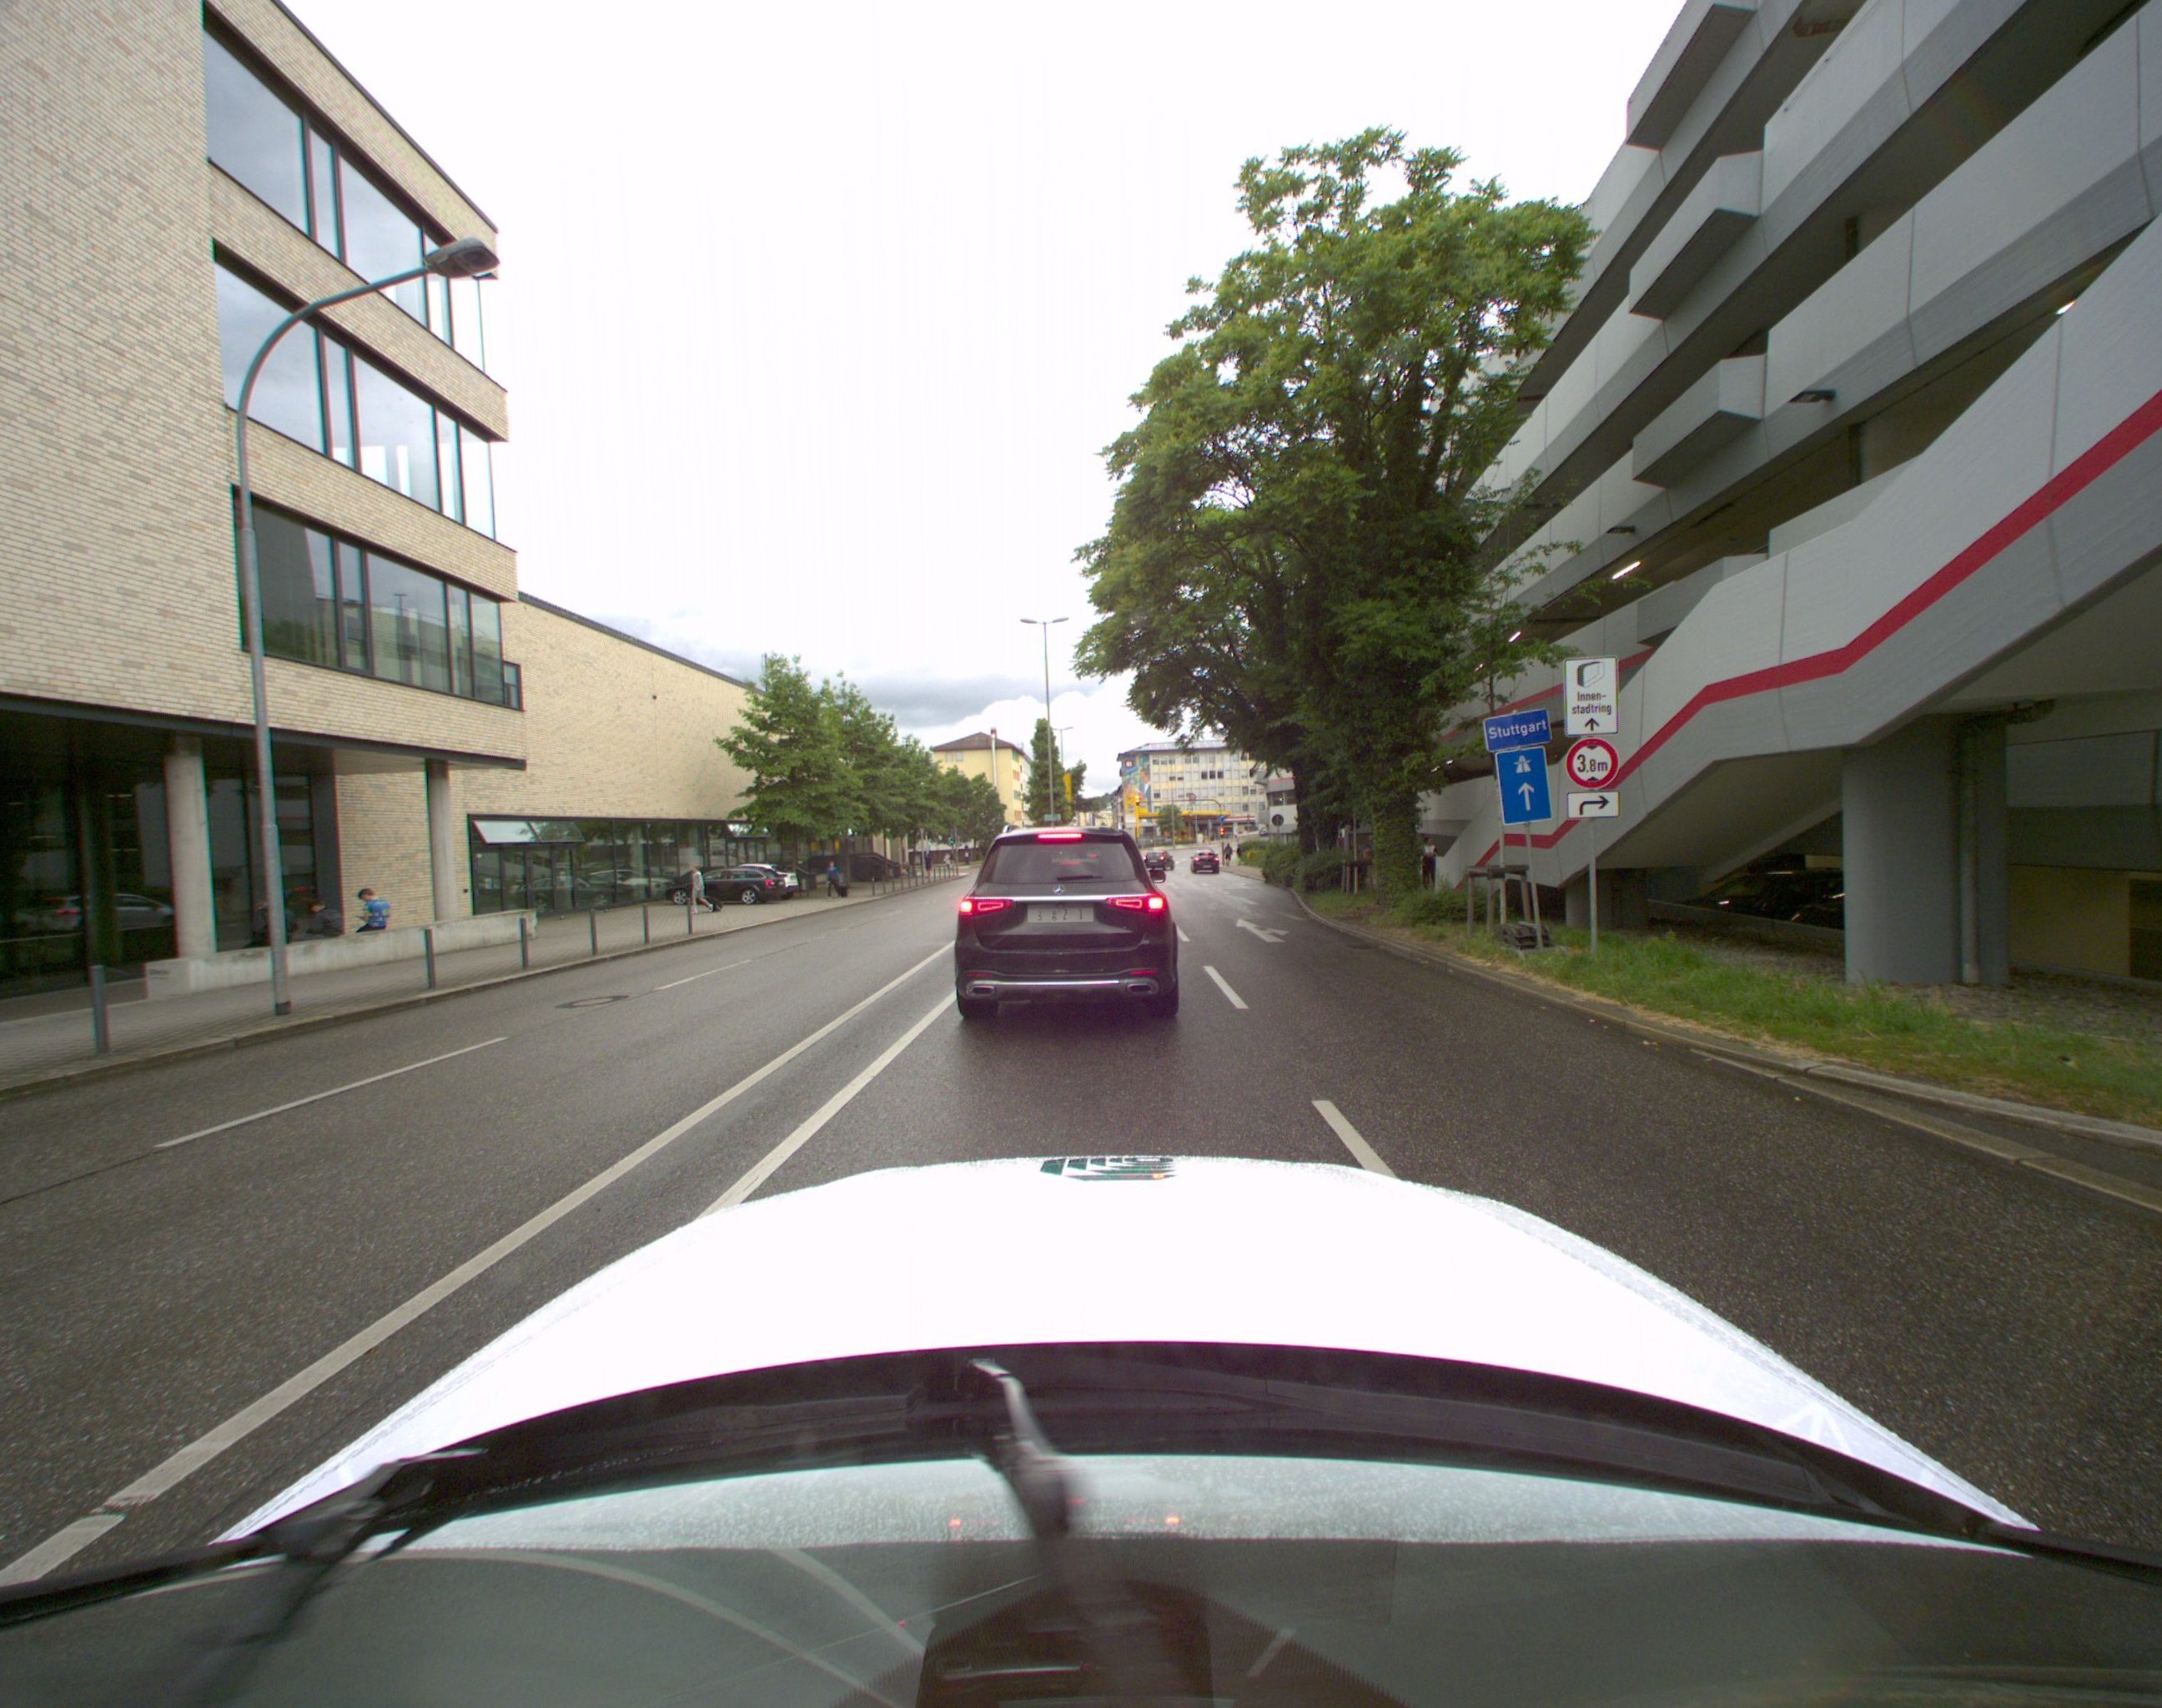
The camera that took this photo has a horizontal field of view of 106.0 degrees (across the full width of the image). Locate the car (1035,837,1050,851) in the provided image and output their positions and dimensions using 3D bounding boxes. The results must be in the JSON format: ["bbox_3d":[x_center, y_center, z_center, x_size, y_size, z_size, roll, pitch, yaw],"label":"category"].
[{"bbox_3d":[-5.793,-1.496,121.921,1.987,1.875,5.141,0,-1,0],"label":"car"}]

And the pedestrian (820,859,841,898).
[{"bbox_3d":[-11.422,1.112,37.118,0.686,1.725,0.754,0,1,0],"label":"pedestrian"}]

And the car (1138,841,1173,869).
[{"bbox_3d":[5.512,0.094,60.732,1.990,2.014,3.993,0,-1,-4],"label":"car"}]

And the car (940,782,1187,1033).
[{"bbox_3d":[-0.124,0.447,8.578,1.987,2.014,4.000,0,-1,0],"label":"car"}]

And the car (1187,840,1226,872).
[{"bbox_3d":[8.370,0.106,54.521,1.987,2.013,3.999,-1,0,0],"label":"car"}]

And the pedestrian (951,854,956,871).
[{"bbox_3d":[-12.680,0.861,81.009,0.398,1.644,0.567,0,-1,2],"label":"pedestrian"}]

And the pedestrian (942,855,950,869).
[{"bbox_3d":[-13.727,0.790,83.047,0.709,1.462,0.598,0,-1,0],"label":"pedestrian"}]

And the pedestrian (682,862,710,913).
[{"bbox_3d":[-12.869,1.113,27.238,0.673,1.697,0.479,0,-2,1],"label":"pedestrian"}]

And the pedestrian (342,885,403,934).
[{"bbox_3d":[-13.515,1.052,15.549,0.680,0.886,0.523,0,-1,-5],"label":"pedestrian"}]

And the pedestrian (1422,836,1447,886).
[{"bbox_3d":[10.902,0.220,25.122,0.579,1.501,0.505,0,-1,7],"label":"pedestrian"}]

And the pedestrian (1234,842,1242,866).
[{"bbox_3d":[12.582,0.011,65.256,0.518,1.911,0.556,0,-1,1],"label":"pedestrian"}]

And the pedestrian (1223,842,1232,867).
[{"bbox_3d":[11.768,0.045,65.410,0.617,1.935,0.611,0,-1,4],"label":"pedestrian"}]

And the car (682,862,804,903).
[{"bbox_3d":[-14.622,1.218,35.421,4.407,1.574,1.998,-1,1,-4],"label":"car"}]

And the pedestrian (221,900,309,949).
[{"bbox_3d":[-13.524,1.176,13.517,0.595,0.786,0.760,0,-7,1],"label":"pedestrian"}]

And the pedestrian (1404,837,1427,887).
[{"bbox_3d":[10.325,0.243,25.149,0.548,1.532,0.489,0,-1,8],"label":"pedestrian"}]

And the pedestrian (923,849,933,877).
[{"bbox_3d":[-11.062,0.655,58.944,0.586,2.013,0.749,1,0,0],"label":"pedestrian"}]

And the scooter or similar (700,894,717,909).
[{"bbox_3d":[-12.659,1.614,27.678,0.278,0.501,0.617,0,-2,4],"label":"scooter or similar"}]

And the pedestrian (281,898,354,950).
[{"bbox_3d":[-13.521,1.230,14.436,0.584,0.845,0.727,-1,-1,1],"label":"pedestrian"}]

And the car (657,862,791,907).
[{"bbox_3d":[-14.173,1.183,32.547,4.461,1.587,1.997,-1,0,-5],"label":"car"}]
